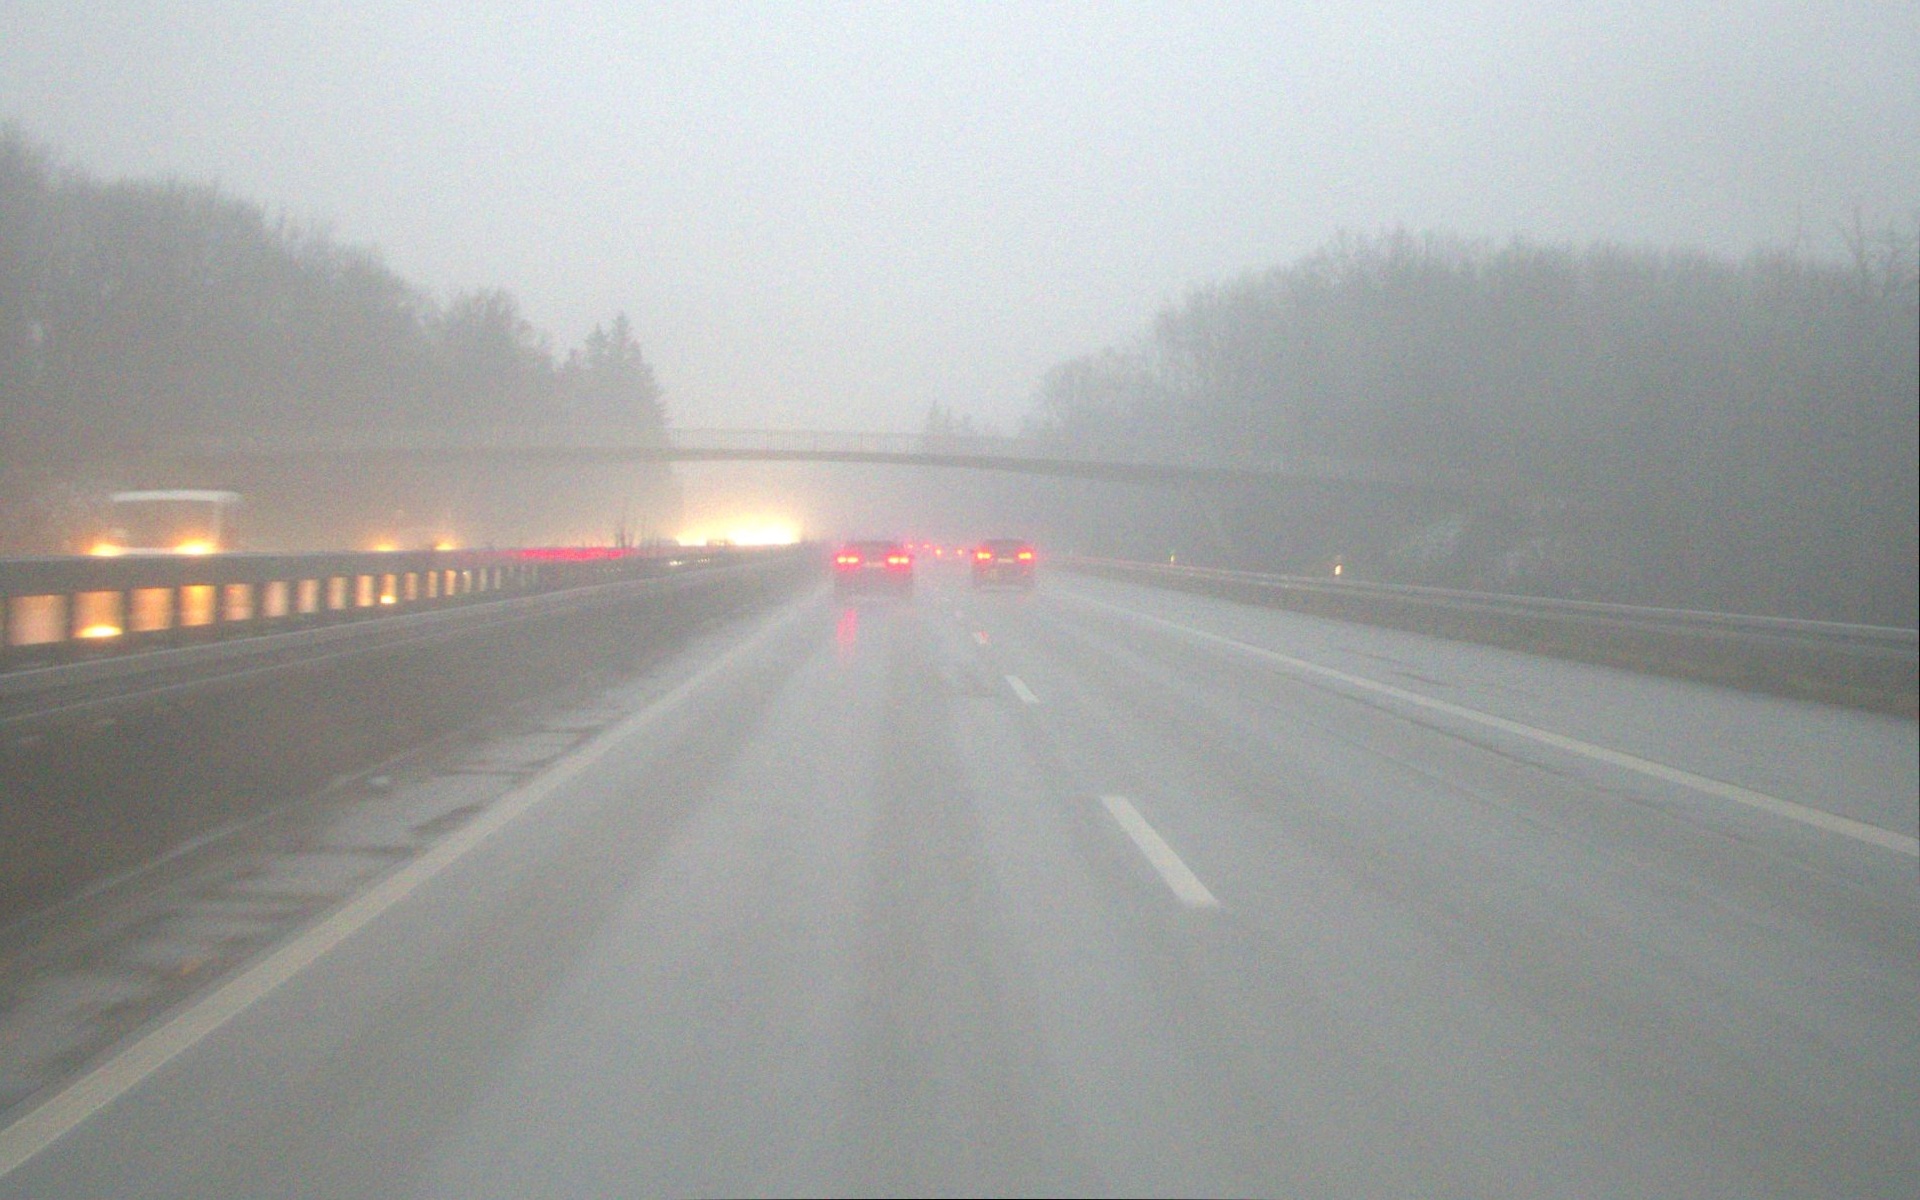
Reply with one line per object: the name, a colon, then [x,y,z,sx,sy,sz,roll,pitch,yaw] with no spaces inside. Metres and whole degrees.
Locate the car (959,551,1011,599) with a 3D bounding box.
car: [0.756,-0.781,105.498,1.454,1.424,3.490,1,1,-1]

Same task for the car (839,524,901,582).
car: [-2.148,-1.126,82.732,1.454,1.339,3.490,1,1,-1]
